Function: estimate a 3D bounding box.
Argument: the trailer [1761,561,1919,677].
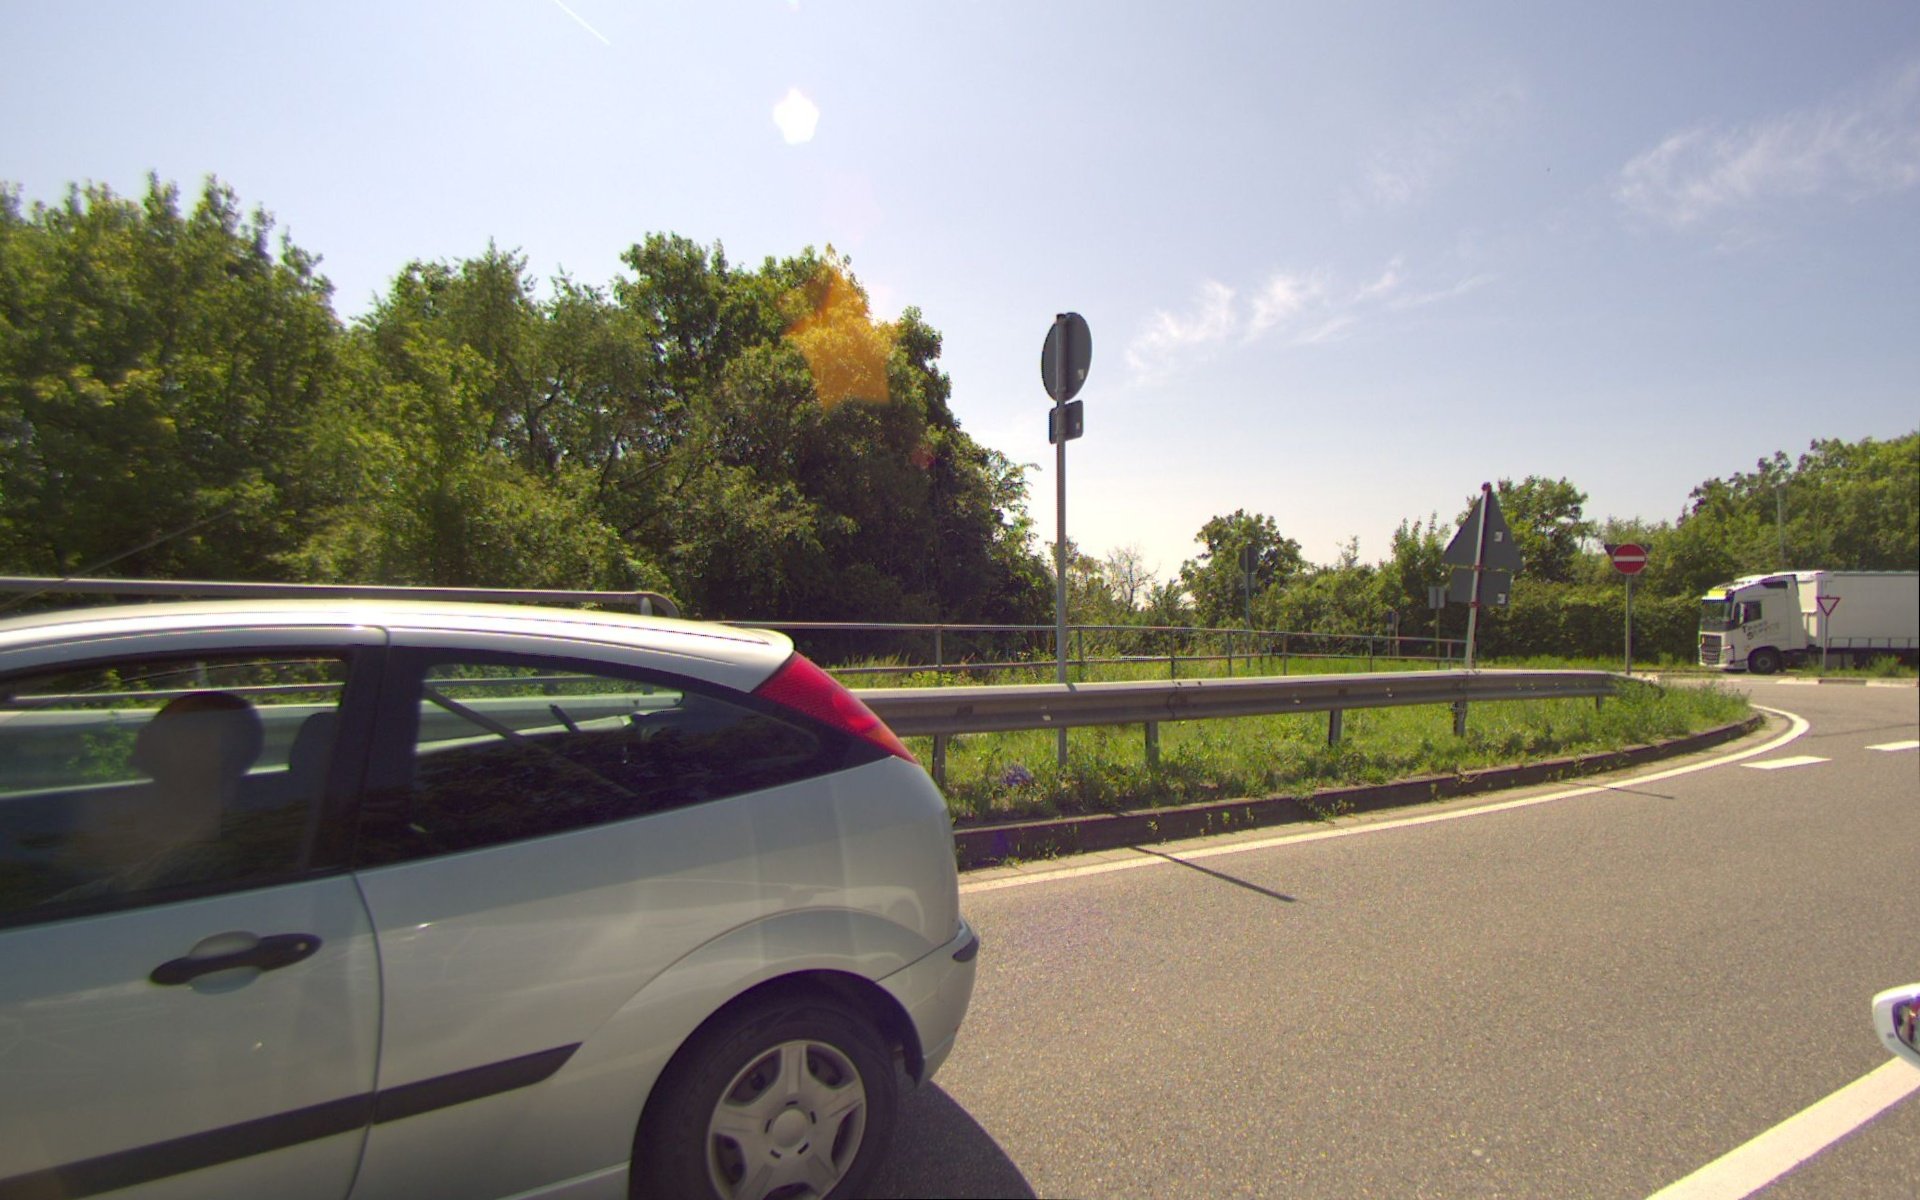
[{"bbox_3d":[39.438,0.769,39.141,13.513,4.333,3.000,1,0,4],"label":"trailer"}]

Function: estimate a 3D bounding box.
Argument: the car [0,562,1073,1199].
[{"bbox_3d":[-1.743,0.683,2.402,3.661,1.476,1.788,1,0,-29],"label":"car"}]

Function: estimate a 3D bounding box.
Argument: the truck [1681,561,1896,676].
[{"bbox_3d":[32.648,0.675,39.854,5.807,4.333,3.000,1,0,11],"label":"truck"}]
